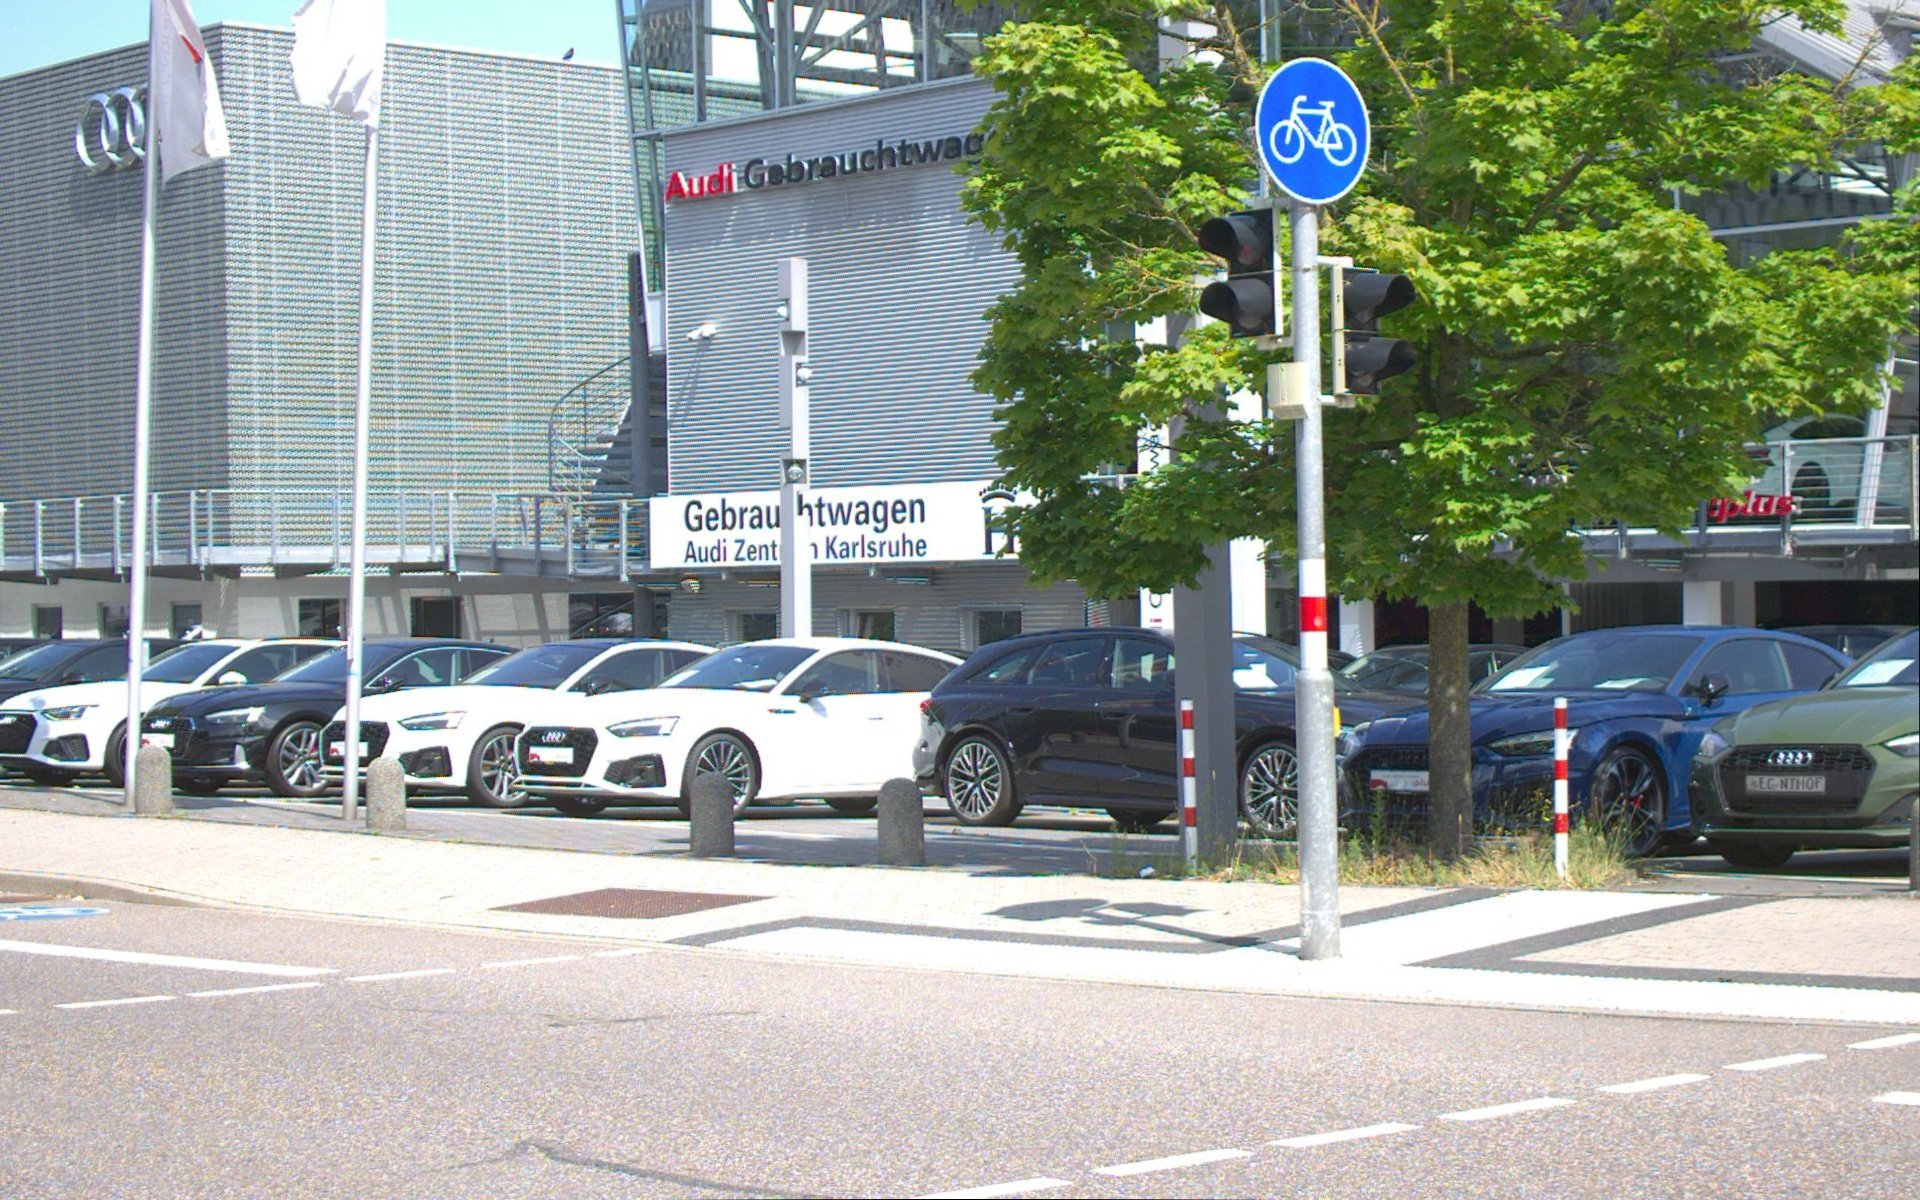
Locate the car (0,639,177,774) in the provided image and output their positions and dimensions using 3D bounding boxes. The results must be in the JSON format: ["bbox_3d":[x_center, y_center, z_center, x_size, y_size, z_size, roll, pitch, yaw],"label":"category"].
[{"bbox_3d":[-10.833,1.096,36.422,4.577,1.379,1.906,3,-1,-44],"label":"car"}]

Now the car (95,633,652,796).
[{"bbox_3d":[-5.143,0.971,30.570,4.577,1.293,1.906,1,1,-44],"label":"car"}]

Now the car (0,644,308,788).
[{"bbox_3d":[-9.081,1.130,34.605,4.577,1.293,1.906,5,-2,-44],"label":"car"}]

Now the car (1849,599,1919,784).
[{"bbox_3d":[10.878,0.912,32.167,4.550,1.734,1.995,2,1,45],"label":"car"}]

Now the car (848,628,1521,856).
[{"bbox_3d":[1.489,0.972,24.332,1.791,1.459,4.753,4,-3,-44],"label":"car"}]

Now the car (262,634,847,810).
[{"bbox_3d":[-3.288,0.962,28.532,4.577,1.293,1.906,1,1,-44],"label":"car"}]

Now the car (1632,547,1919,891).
[{"bbox_3d":[5.860,0.594,18.958,4.577,1.672,1.906,1,1,-44],"label":"car"}]

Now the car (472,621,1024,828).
[{"bbox_3d":[-1.573,0.984,26.479,3.989,1.459,1.795,4,-3,-44],"label":"car"}]

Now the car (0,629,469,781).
[{"bbox_3d":[-7.089,0.947,32.489,4.577,1.293,1.906,1,1,-44],"label":"car"}]

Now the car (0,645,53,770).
[{"bbox_3d":[-12.736,1.101,38.461,4.577,1.400,1.906,4,-2,-44],"label":"car"}]

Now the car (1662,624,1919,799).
[{"bbox_3d":[8.790,1.010,30.417,1.979,1.506,4.753,4,-3,-44],"label":"car"}]

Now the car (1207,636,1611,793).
[{"bbox_3d":[4.781,1.158,36.244,4.349,1.494,1.906,-1,0,-44],"label":"car"}]

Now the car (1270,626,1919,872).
[{"bbox_3d":[4.134,0.834,20.945,4.577,1.293,1.906,1,1,-44],"label":"car"}]
